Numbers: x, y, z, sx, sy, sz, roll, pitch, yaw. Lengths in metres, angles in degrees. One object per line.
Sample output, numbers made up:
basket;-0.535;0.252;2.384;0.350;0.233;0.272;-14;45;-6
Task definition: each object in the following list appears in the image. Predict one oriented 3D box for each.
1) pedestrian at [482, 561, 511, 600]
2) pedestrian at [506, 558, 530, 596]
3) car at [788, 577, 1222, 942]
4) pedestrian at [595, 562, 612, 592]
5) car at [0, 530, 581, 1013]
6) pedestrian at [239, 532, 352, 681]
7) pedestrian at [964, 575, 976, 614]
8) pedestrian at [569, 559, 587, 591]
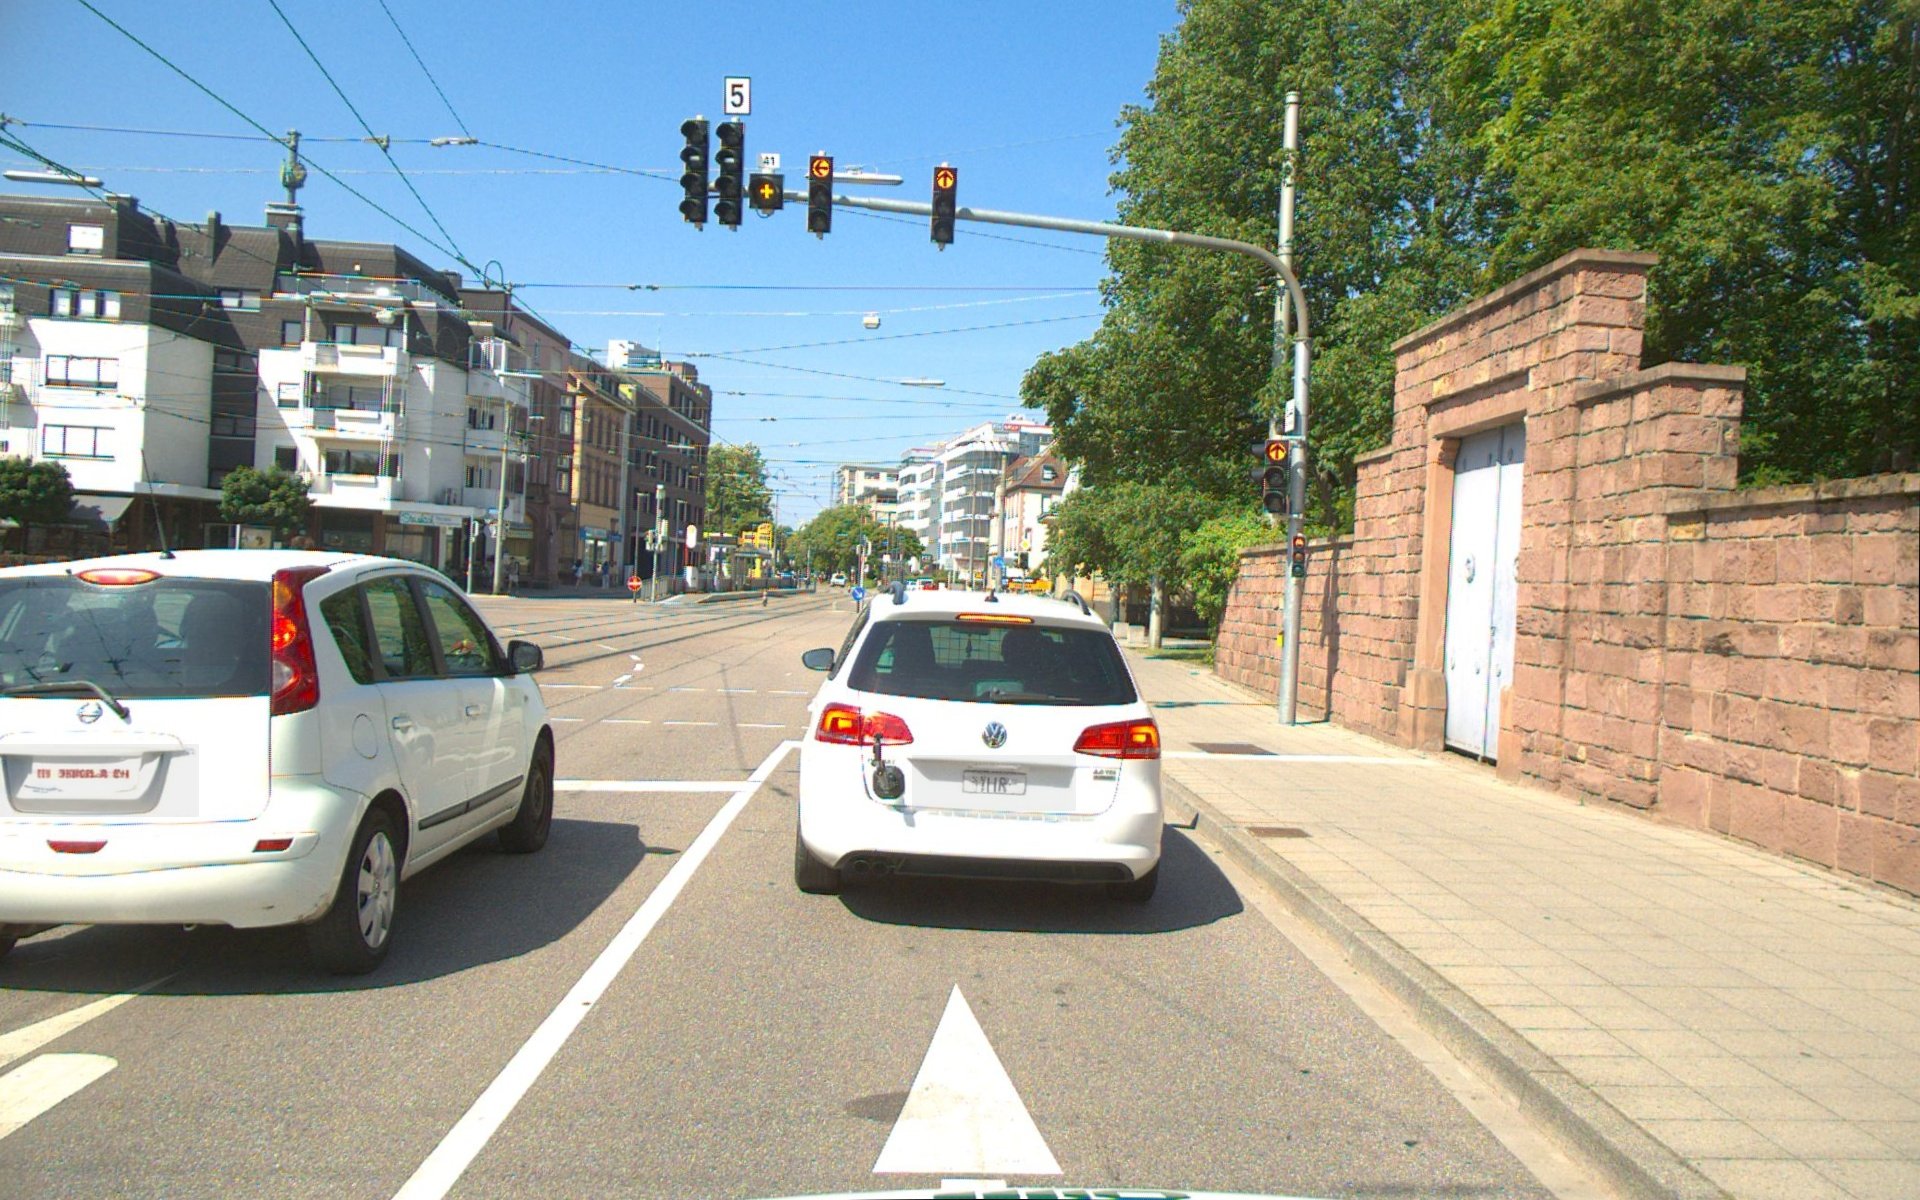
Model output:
pedestrian;-21.239;-0.895;75.750;0.849;1.773;0.968;0;-1;43
pedestrian;-21.280;-1.107;79.674;0.843;1.773;0.975;1;-1;3
car;0.155;0.647;8.905;1.771;1.473;3.999;2;1;-1
pedestrian;-21.289;-1.377;98.741;0.845;1.773;0.973;1;-1;-6
car;-2.915;0.523;7.388;1.608;1.593;3.803;1;1;-1
pedestrian;-7.696;0.077;19.190;0.953;1.680;0.955;1;-1;-5
pedestrian;0.610;-0.319;100.338;0.675;2.366;1.232;1;-1;1
pedestrian;-21.448;-1.420;92.842;0.845;1.773;0.973;1;-1;-6
